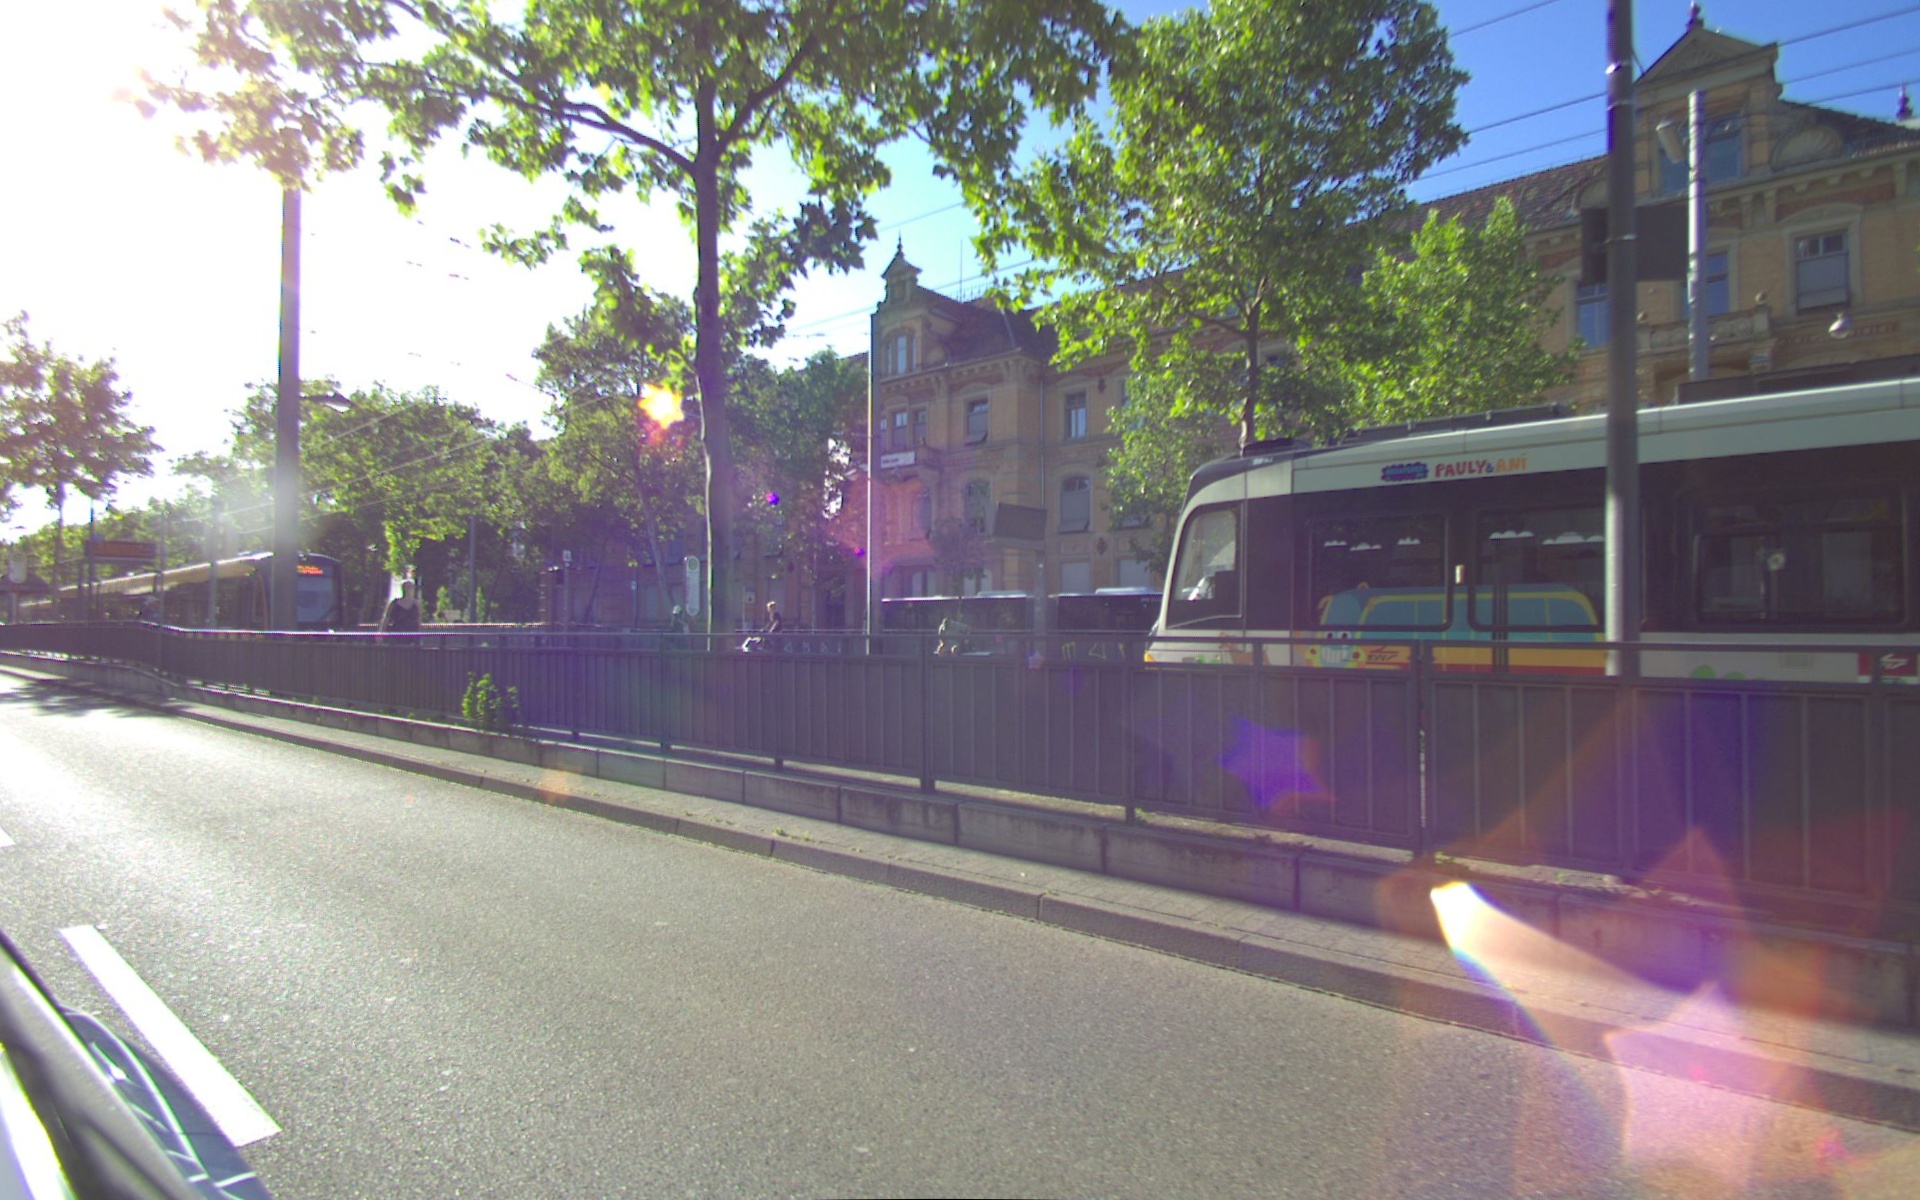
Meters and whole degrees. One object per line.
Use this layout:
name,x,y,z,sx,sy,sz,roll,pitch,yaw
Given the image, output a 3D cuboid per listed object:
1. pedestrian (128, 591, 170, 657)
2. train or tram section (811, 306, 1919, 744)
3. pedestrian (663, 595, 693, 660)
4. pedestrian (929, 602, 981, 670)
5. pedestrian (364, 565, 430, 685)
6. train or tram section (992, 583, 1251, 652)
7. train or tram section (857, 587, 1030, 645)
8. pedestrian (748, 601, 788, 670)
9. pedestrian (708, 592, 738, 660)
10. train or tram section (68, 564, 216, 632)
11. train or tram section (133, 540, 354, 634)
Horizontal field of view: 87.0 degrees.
pedestrian,-20.606,0.619,25.728,0.761,1.648,0.691,-1,-2,41
train or tram section,5.282,-0.511,11.925,18.268,3.460,2.841,-2,-1,42
pedestrian,-7.992,0.776,28.728,0.617,1.815,0.623,1,-3,3
pedestrian,-0.114,0.805,22.550,0.878,1.472,0.719,-1,-4,37
pedestrian,-8.328,0.364,14.986,0.623,1.723,0.674,-2,-2,40
train or tram section,5.913,0.720,38.931,10.053,2.346,2.616,-1,-2,42
train or tram section,-0.861,0.756,44.982,8.074,2.346,2.616,-1,-2,42
pedestrian,-5.035,0.929,26.478,0.812,1.770,0.668,-1,-2,39
pedestrian,-6.453,0.719,27.551,0.617,1.815,0.624,1,-3,0
train or tram section,-35.932,0.081,44.085,15.066,2.551,2.536,-1,-2,42
train or tram section,-24.442,-0.195,33.892,15.668,2.584,2.536,-1,-2,42
